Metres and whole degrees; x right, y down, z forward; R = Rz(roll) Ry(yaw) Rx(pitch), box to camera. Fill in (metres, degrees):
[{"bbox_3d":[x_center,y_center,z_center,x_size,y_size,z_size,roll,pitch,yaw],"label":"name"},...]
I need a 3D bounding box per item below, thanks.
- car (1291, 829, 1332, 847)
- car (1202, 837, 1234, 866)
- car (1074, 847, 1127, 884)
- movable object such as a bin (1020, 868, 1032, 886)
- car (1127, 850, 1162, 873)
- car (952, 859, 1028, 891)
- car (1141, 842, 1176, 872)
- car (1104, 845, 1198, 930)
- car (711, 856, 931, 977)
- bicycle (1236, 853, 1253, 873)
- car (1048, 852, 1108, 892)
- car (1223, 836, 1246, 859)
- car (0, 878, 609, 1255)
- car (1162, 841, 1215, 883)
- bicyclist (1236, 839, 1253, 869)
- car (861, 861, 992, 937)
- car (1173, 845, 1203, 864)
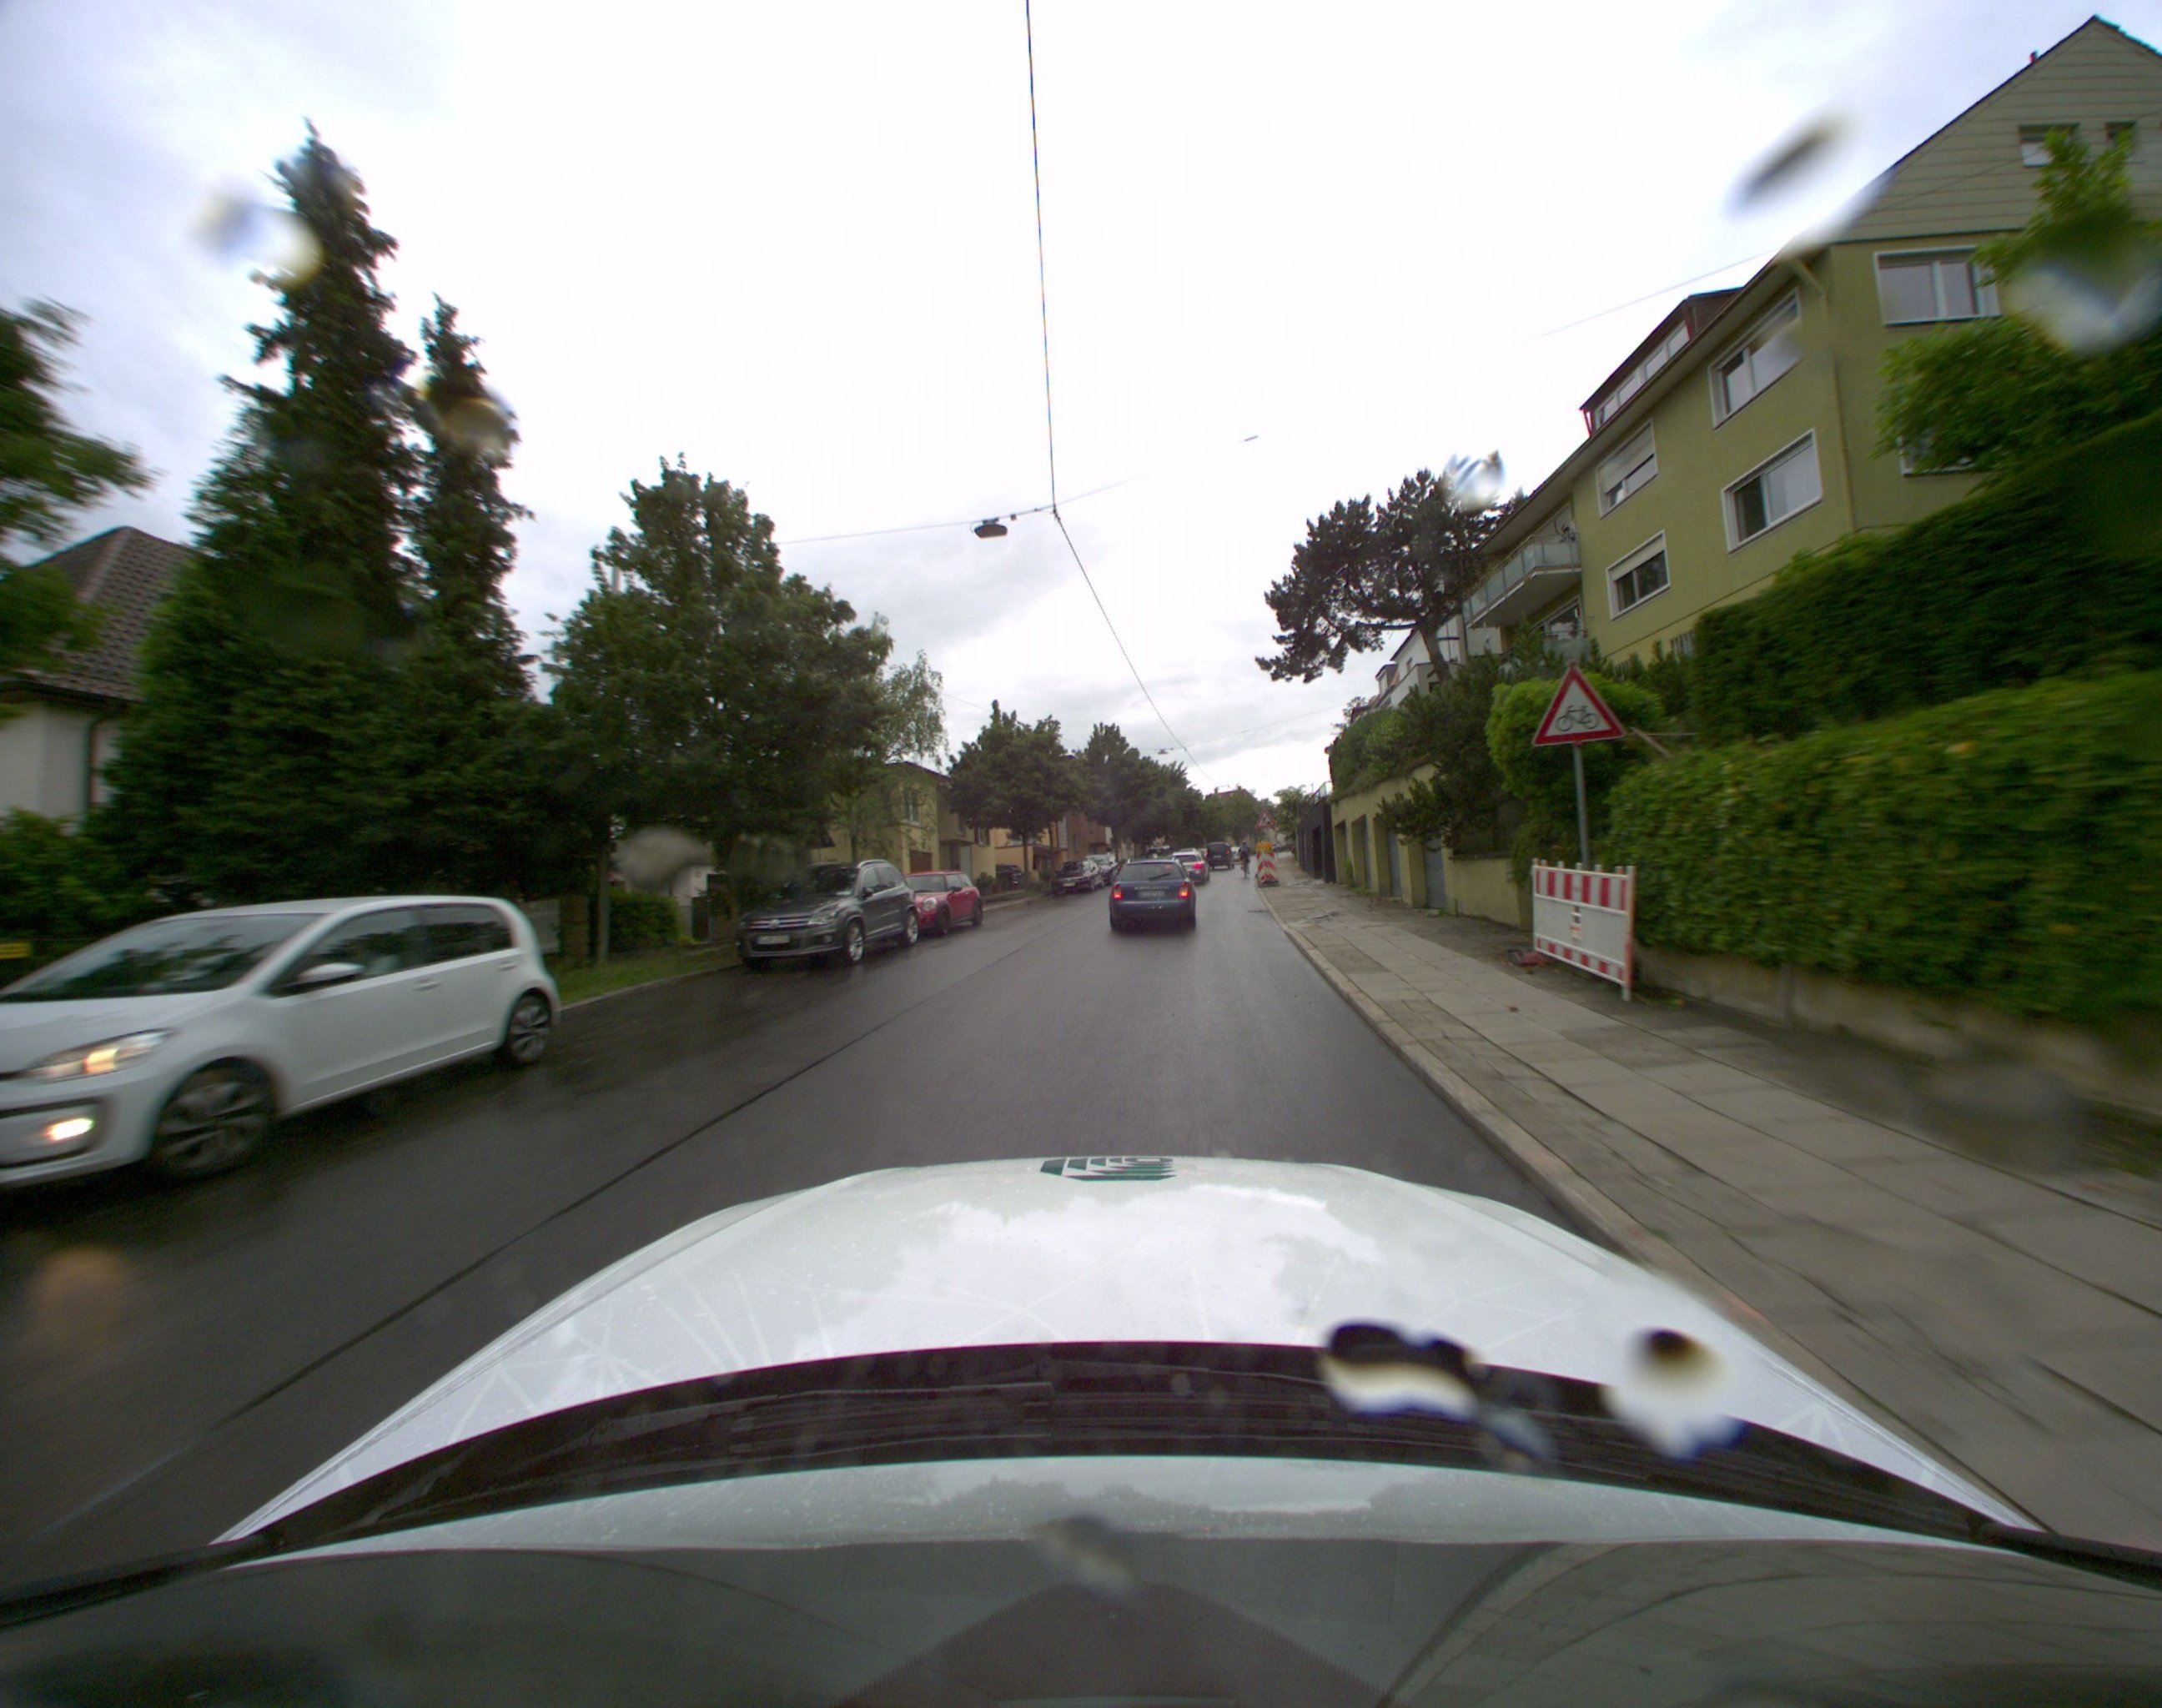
[{"bbox_3d":[24.607,-1.677,86.966,3.953,1.466,1.748,-6,0,21],"label":"car"},{"bbox_3d":[9.478,-0.180,56.042,1.721,1.768,4.253,-2,2,15],"label":"car"},{"bbox_3d":[1.064,0.564,42.740,1.756,1.634,4.125,-7,-1,14],"label":"car"},{"bbox_3d":[-3.404,1.430,50.696,0.583,1.023,0.588,-3,0,10],"label":"movable object such as a bin"},{"bbox_3d":[4.690,0.534,59.215,1.756,1.436,4.363,-5,-1,13],"label":"car"},{"bbox_3d":[-5.436,1.231,48.682,4.025,1.646,1.870,-4,-1,13],"label":"car"},{"bbox_3d":[6.128,0.182,64.150,1.778,2.049,4.801,-7,0,14],"label":"car"},{"bbox_3d":[1.597,0.624,17.511,1.724,1.466,4.010,-2,2,8],"label":"car"},{"bbox_3d":[-4.250,0.940,14.191,1.791,1.669,4.436,-4,-1,8],"label":"car"},{"bbox_3d":[8.211,0.443,40.889,0.724,0.964,1.677,-3,0,14],"label":"bicycle"},{"bbox_3d":[-0.051,0.770,37.293,1.757,1.535,4.619,-5,0,11],"label":"car"},{"bbox_3d":[13.189,-0.622,69.662,1.721,1.768,4.251,-2,2,13],"label":"car"},{"bbox_3d":[-5.315,0.986,5.472,1.726,1.466,4.004,-2,0,4],"label":"car"},{"bbox_3d":[4.911,0.326,36.806,1.962,1.635,4.251,-2,2,13],"label":"car"},{"bbox_3d":[8.201,-0.011,40.930,0.720,1.472,0.890,-3,0,14],"label":"bicyclist"},{"bbox_3d":[-3.504,0.985,19.181,1.672,1.471,3.876,-4,-1,10],"label":"car"},{"bbox_3d":[10.141,0.032,76.816,1.754,1.627,4.712,-5,-1,18],"label":"car"}]
